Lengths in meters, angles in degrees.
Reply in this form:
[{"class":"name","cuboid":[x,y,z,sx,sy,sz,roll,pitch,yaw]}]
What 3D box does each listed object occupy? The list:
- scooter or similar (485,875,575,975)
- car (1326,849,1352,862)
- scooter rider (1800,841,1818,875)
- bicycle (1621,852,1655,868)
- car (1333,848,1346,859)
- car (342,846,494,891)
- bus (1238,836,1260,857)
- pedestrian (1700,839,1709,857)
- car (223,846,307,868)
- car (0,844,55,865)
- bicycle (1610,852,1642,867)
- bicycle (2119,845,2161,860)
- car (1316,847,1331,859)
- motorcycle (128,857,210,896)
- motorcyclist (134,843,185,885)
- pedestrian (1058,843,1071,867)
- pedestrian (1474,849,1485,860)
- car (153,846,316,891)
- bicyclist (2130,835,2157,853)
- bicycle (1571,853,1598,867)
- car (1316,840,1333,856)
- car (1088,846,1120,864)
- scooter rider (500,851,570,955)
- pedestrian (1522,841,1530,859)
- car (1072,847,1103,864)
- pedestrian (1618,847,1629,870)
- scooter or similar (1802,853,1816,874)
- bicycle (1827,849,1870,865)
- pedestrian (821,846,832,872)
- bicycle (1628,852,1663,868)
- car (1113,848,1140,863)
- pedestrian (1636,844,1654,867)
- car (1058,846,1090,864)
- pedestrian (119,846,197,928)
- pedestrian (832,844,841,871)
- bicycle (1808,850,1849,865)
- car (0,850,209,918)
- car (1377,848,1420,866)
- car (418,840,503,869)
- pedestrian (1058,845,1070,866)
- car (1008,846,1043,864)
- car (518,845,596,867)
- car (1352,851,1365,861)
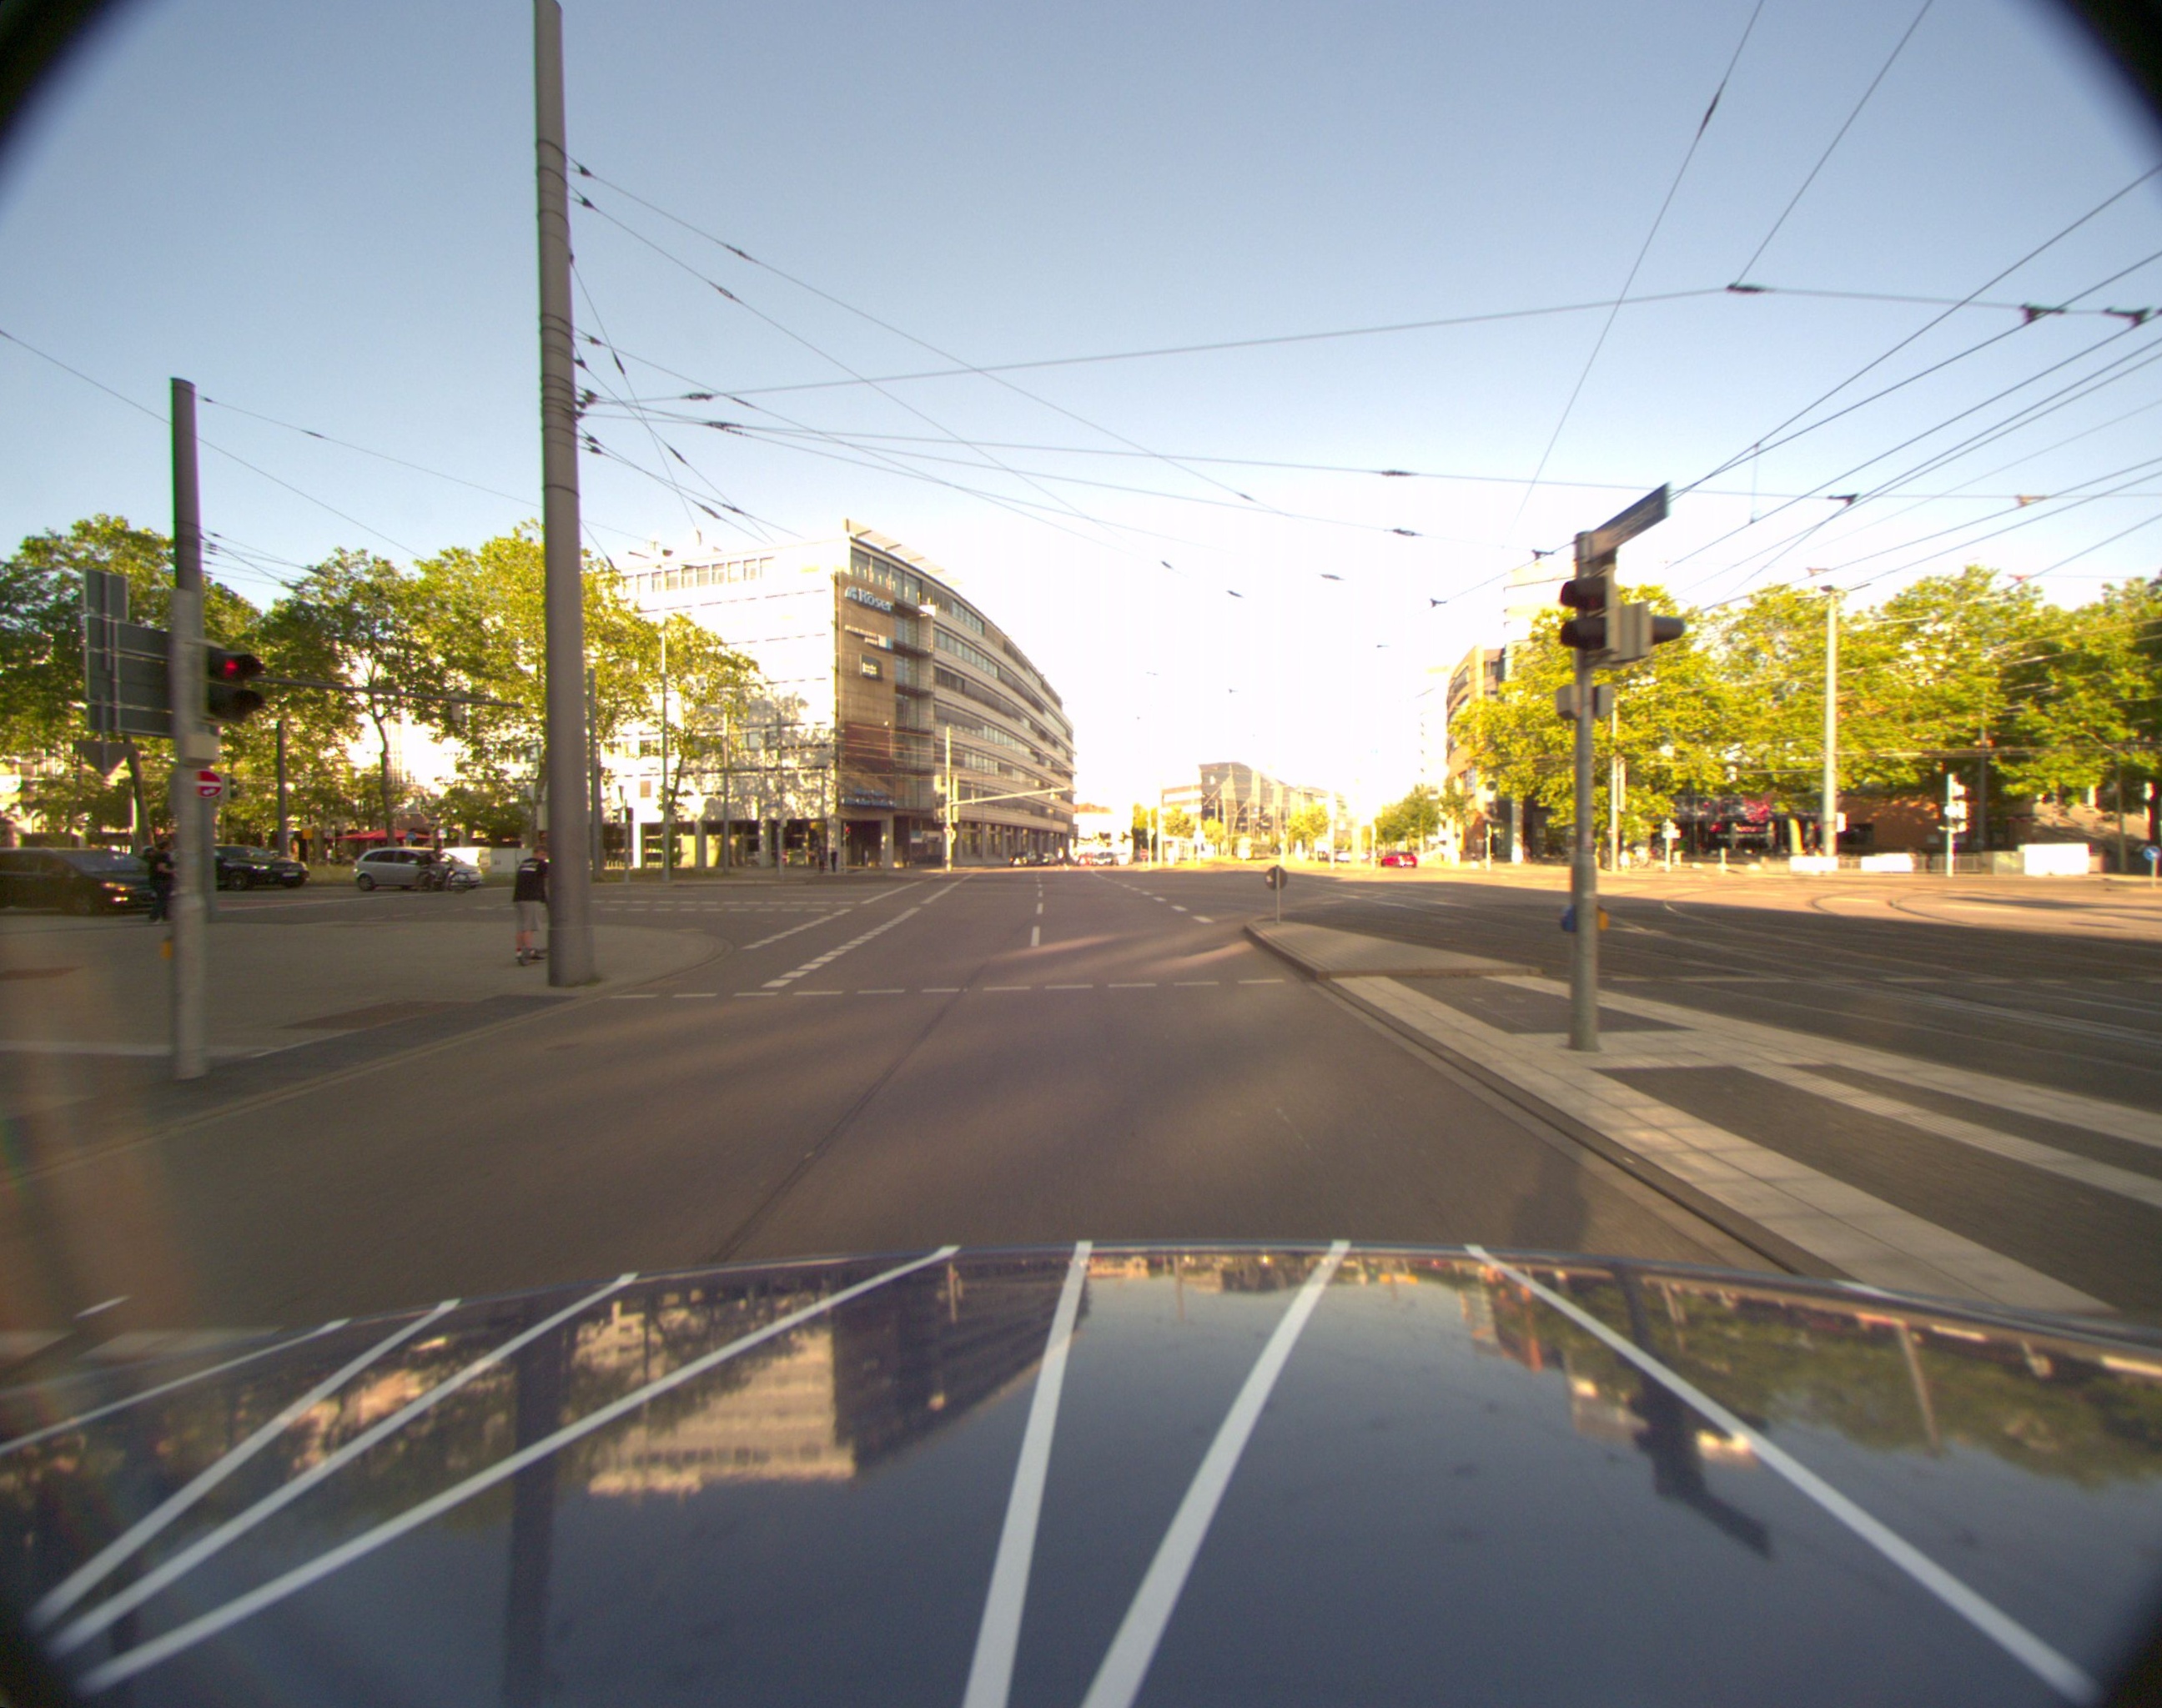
[{"class":"scooter or similar","cuboid":[-7.866,0.985,10.896,0.529,1.310,1.132,0,1,-6]},{"class":"car","cuboid":[28.635,0.148,84.536,1.635,1.443,4.000,0,0,2]},{"class":"scooter rider","cuboid":[40.412,0.218,42.195,0.587,1.822,0.765,1,2,36]},{"class":"bicycle","cuboid":[40.773,0.422,55.593,1.841,1.123,0.776,0,1,7]},{"class":"car","cuboid":[48.332,-0.029,141.968,1.607,2.002,3.893,0,1,29]},{"class":"car","cuboid":[-24.799,0.522,28.491,4.320,1.588,1.736,0,1,5]},{"class":"bus","cuboid":[27.168,-1.144,123.247,2.723,3.388,9.675,0,0,8]},{"class":"pedestrian","cuboid":[55.390,-0.535,67.489,0.542,1.660,0.572,1,2,41]},{"class":"car","cuboid":[-58.893,0.183,54.869,4.320,1.543,1.860,0,1,6]},{"class":"car","cuboid":[-80.572,-0.006,57.147,4.319,1.543,2.271,0,1,8]},{"class":"bicycle","cuboid":[41.085,0.433,57.279,1.841,1.123,0.776,0,1,7]},{"class":"bicycle","cuboid":[76.992,-0.127,55.018,2.009,1.061,0.697,0,1,38]},{"class":"car","cuboid":[33.821,-0.153,105.951,1.615,1.593,4.182,3,0,20]},{"class":"motorcycle","cuboid":[-30.013,0.739,25.005,2.027,1.251,0.853,0,0,11]},{"class":"motorcyclist","cuboid":[-30.414,0.330,25.082,0.747,1.345,0.822,0,0,11]},{"class":"pedestrian","cuboid":[-1.290,0.093,59.152,0.966,1.832,0.699,0,1,5]},{"class":"pedestrian","cuboid":[41.411,0.041,78.998,0.776,1.075,0.681,0,1,0]},{"class":"car","cuboid":[-32.183,0.522,28.958,4.320,1.641,1.860,0,1,5]},{"class":"bicyclist","cuboid":[76.940,-0.737,55.049,0.956,1.337,0.676,1,2,37]},{"class":"bicycle","cuboid":[39.125,0.476,59.032,1.696,1.030,0.549,0,1,12]},{"class":"car","cuboid":[40.623,-0.976,126.597,1.995,2.465,5.985,0,0,24]},{"class":"car","cuboid":[2.220,0.110,71.180,1.900,1.612,4.530,0,0,17]},{"class":"scooter rider","cuboid":[-7.876,0.683,10.990,0.507,1.452,0.721,0,1,-5]},{"class":"pedestrian","cuboid":[42.439,-0.368,72.434,0.594,1.647,0.594,1,1,30]},{"class":"car","cuboid":[0.699,0.138,74.292,1.900,1.612,4.177,0,0,17]},{"class":"pedestrian","cuboid":[37.171,0.318,52.036,0.574,1.529,0.483,-1,2,-43]},{"class":"scooter or similar","cuboid":[40.444,0.518,42.211,0.454,1.172,1.162,1,1,39]},{"class":"bicycle","cuboid":[53.123,0.219,52.593,1.943,1.057,0.784,0,1,12]},{"class":"pedestrian","cuboid":[-17.652,0.358,52.689,0.589,1.813,0.544,-1,1,-11]},{"class":"bicycle","cuboid":[40.655,0.417,54.753,1.841,1.123,0.776,0,1,7]},{"class":"car","cuboid":[4.836,0.170,80.096,1.900,1.612,4.177,0,0,17]},{"class":"pedestrian","cuboid":[42.439,0.126,57.182,0.892,1.754,0.732,0,0,10]},{"class":"car","cuboid":[-0.588,0.086,70.301,1.900,1.612,3.871,0,0,17]},{"class":"pedestrian","cuboid":[-19.655,0.681,16.193,0.823,1.706,0.664,0,1,6]},{"class":"pedestrian","cuboid":[-16.965,0.242,52.810,0.547,1.813,0.374,-1,1,-11]},{"class":"bicycle","cuboid":[53.514,0.231,54.402,1.943,1.057,0.784,0,1,12]},{"class":"car","cuboid":[-25.916,0.736,19.800,4.495,1.645,1.839,0,2,5]},{"class":"car","cuboid":[26.633,0.264,63.783,1.692,1.419,3.998,0,0,-5]},{"class":"car","cuboid":[-43.686,0.043,53.522,4.380,2.002,2.000,0,1,3]},{"class":"pedestrian","cuboid":[-1.347,0.114,59.820,0.845,1.678,0.648,0,1,6]},{"class":"car","cuboid":[-5.209,0.128,72.204,1.900,1.612,4.177,0,0,17]},{"class":"car","cuboid":[-36.820,0.137,53.467,4.320,1.543,1.860,0,1,6]},{"class":"car","cuboid":[47.269,0.332,129.326,1.861,1.622,4.268,0,0,16]}]
